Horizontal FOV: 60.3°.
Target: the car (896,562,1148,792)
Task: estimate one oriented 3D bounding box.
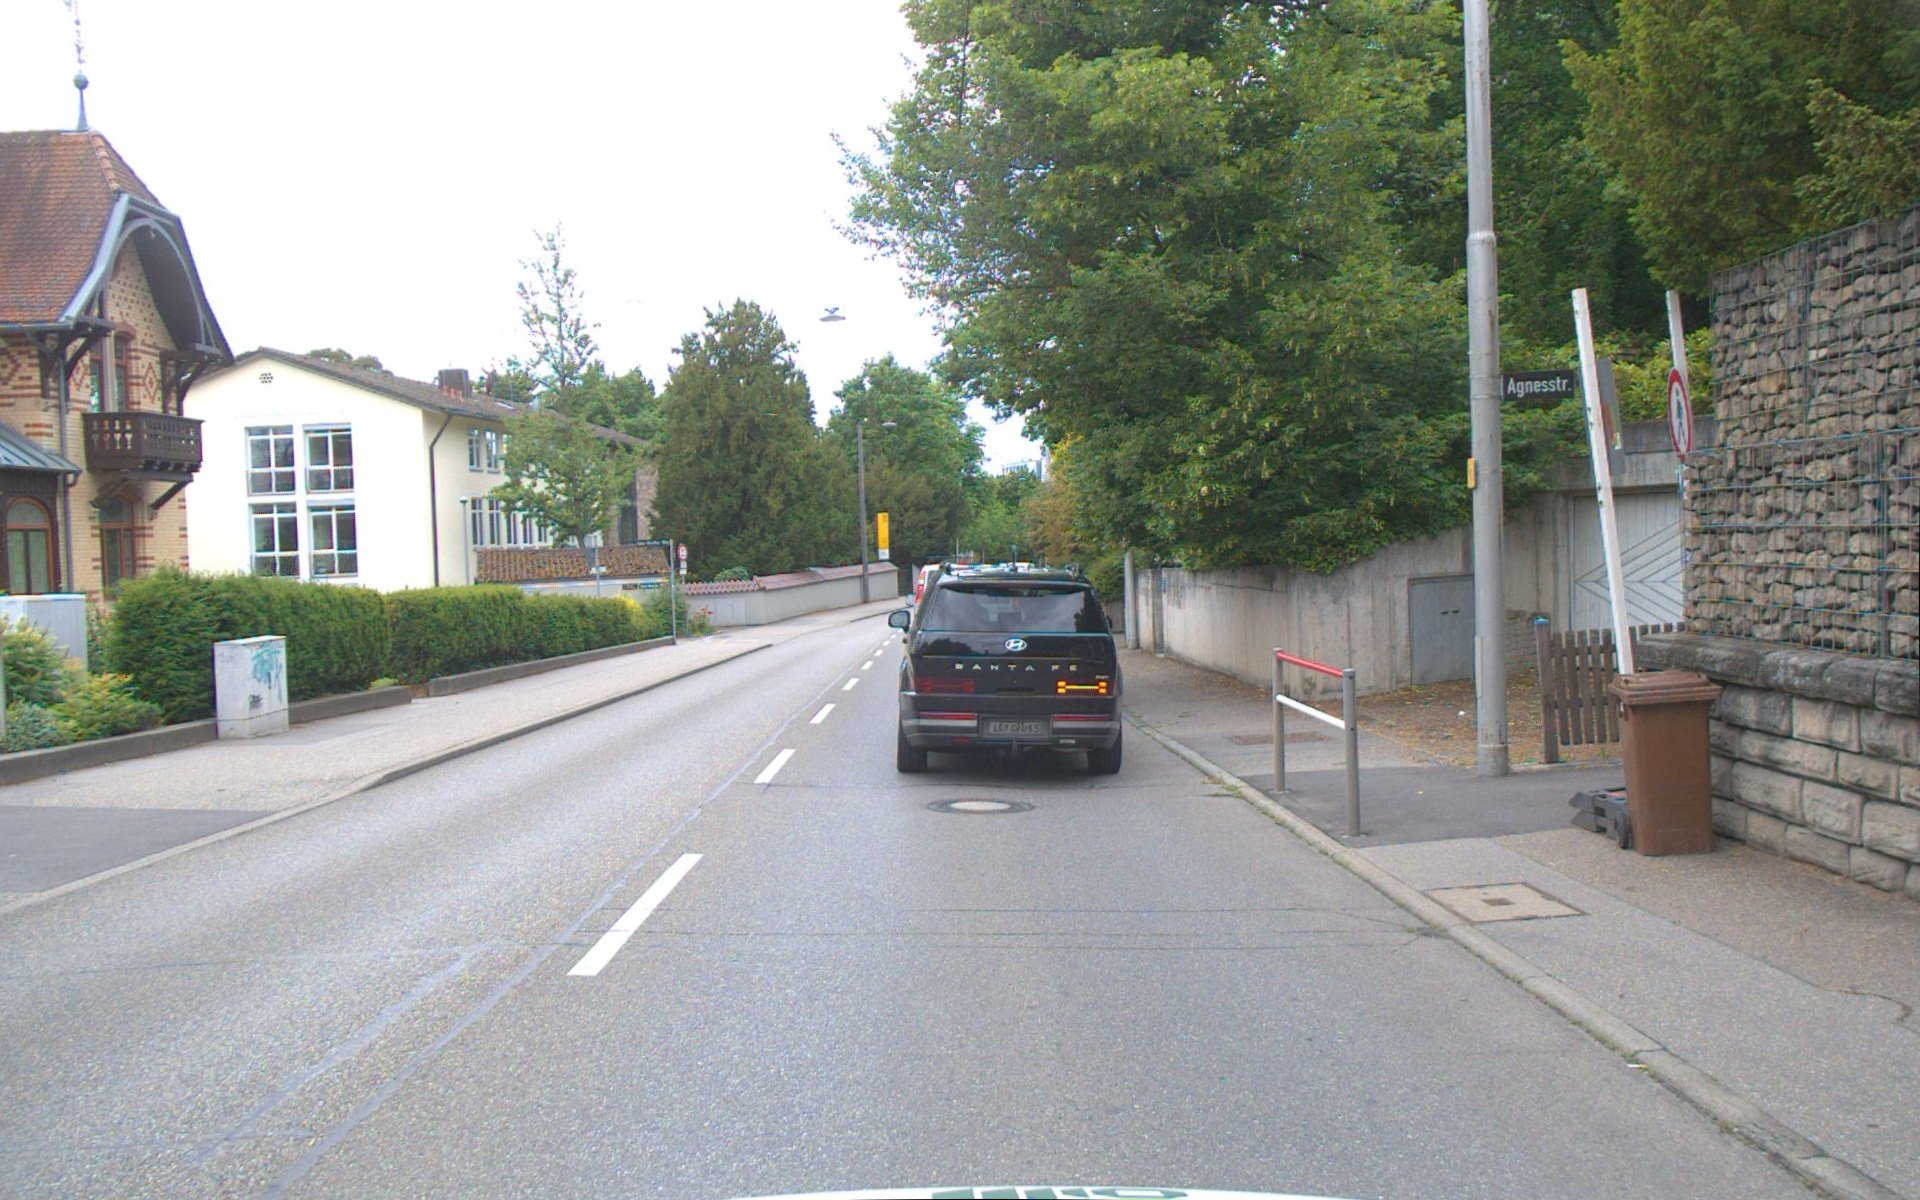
[{"bbox_3d":[0.459,0.554,14.731,1.917,1.742,4.223,0,1,-1],"label":"car"}]

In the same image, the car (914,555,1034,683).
[{"bbox_3d":[0.273,0.248,28.702,1.916,1.989,4.225,0,2,1],"label":"car"}]

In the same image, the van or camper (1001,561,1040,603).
[{"bbox_3d":[3.305,-1.005,89.775,1.640,2.042,3.942,-2,2,7],"label":"van or camper"}]

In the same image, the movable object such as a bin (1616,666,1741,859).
[{"bbox_3d":[3.718,0.835,8.583,0.436,0.925,0.394,-5,0,8],"label":"movable object such as a bin"}]
